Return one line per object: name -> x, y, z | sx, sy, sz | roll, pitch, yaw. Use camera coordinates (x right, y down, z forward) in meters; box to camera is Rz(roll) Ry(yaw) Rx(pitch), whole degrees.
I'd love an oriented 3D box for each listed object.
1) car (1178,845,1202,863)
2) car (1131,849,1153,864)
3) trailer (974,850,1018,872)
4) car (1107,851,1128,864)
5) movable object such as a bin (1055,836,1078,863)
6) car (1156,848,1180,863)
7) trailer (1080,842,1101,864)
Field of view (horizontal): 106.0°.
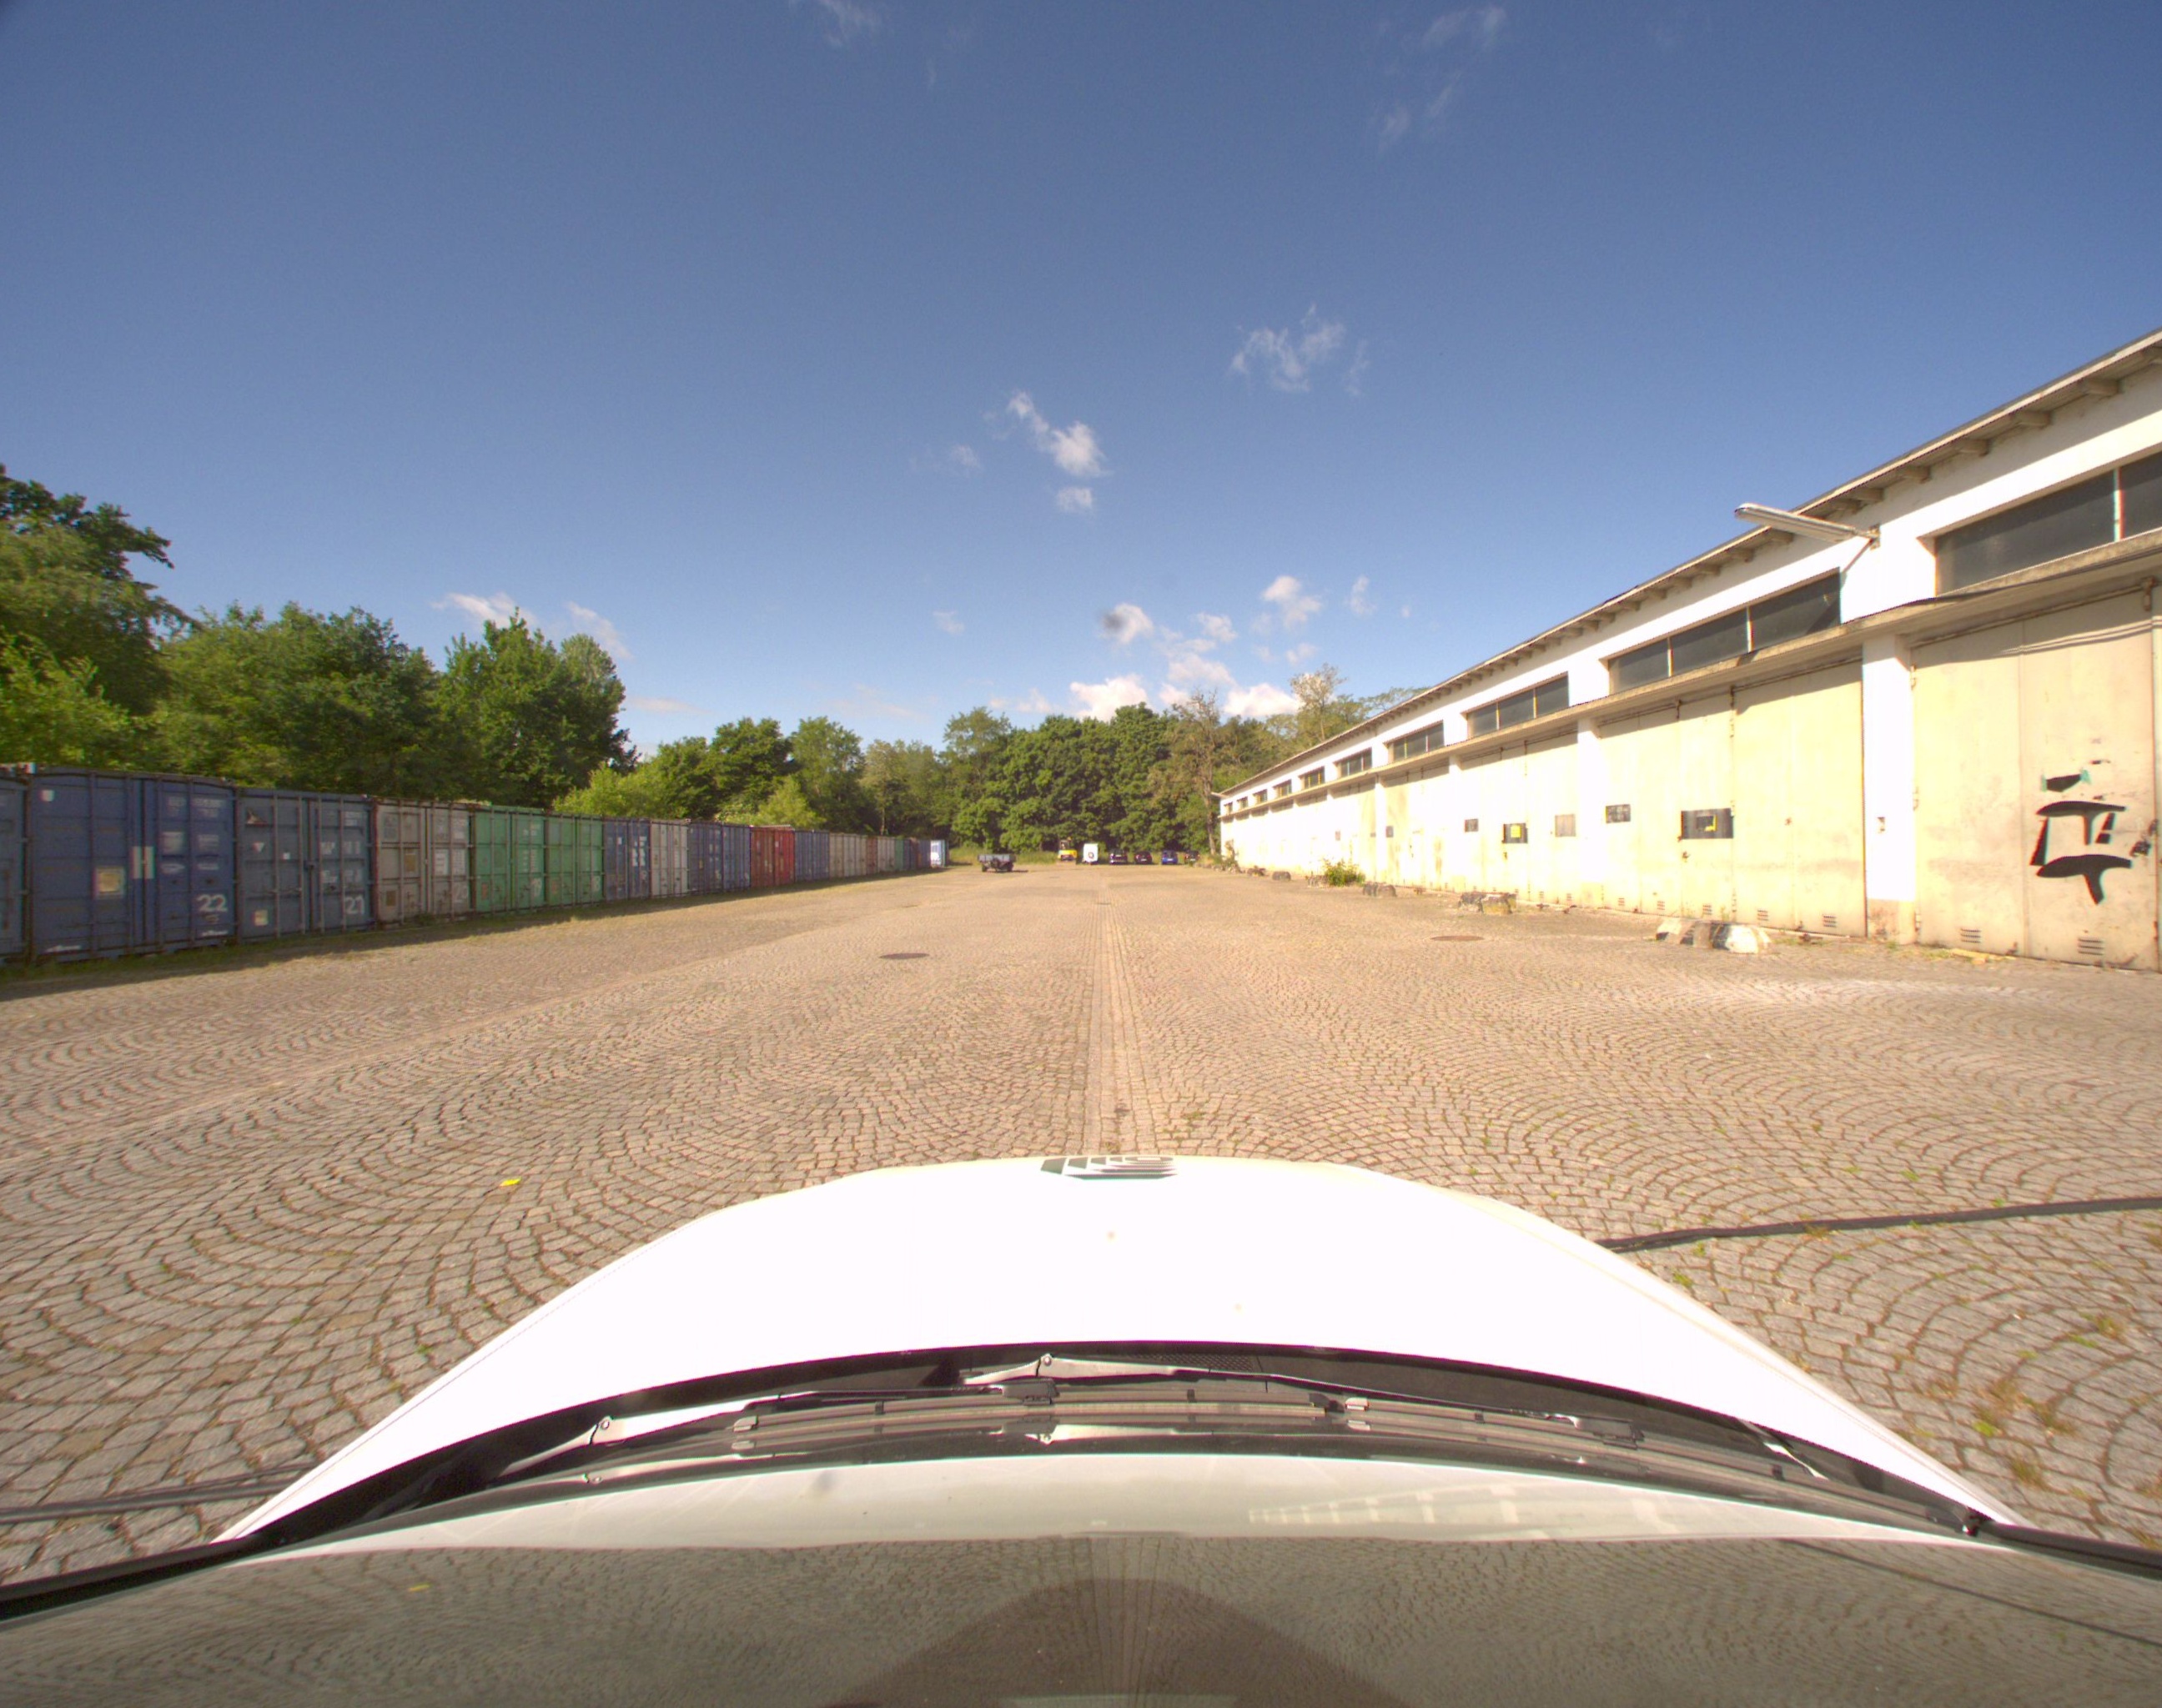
car -> 11.083, -0.001, 82.792 | 1.986, 1.772, 4.001 | -1, 0, 1
car -> 6.120, 0.254, 81.615 | 1.986, 1.424, 4.001 | -1, 0, 1
trailer -> -6.611, 0.530, 64.062 | 2.782, 1.646, 5.620 | -1, 0, 0
car -> 3.592, 0.327, 81.270 | 1.986, 1.258, 4.001 | -1, 0, 1
movable object such as a bin -> -1.491, -0.446, 83.322 | 2.225, 2.657, 3.998 | -1, 0, -1
car -> 8.701, 0.167, 81.575 | 1.986, 1.466, 4.001 | -1, 0, 1
trailer -> 0.953, -0.103, 82.535 | 1.987, 2.162, 4.432 | -1, 0, 1
